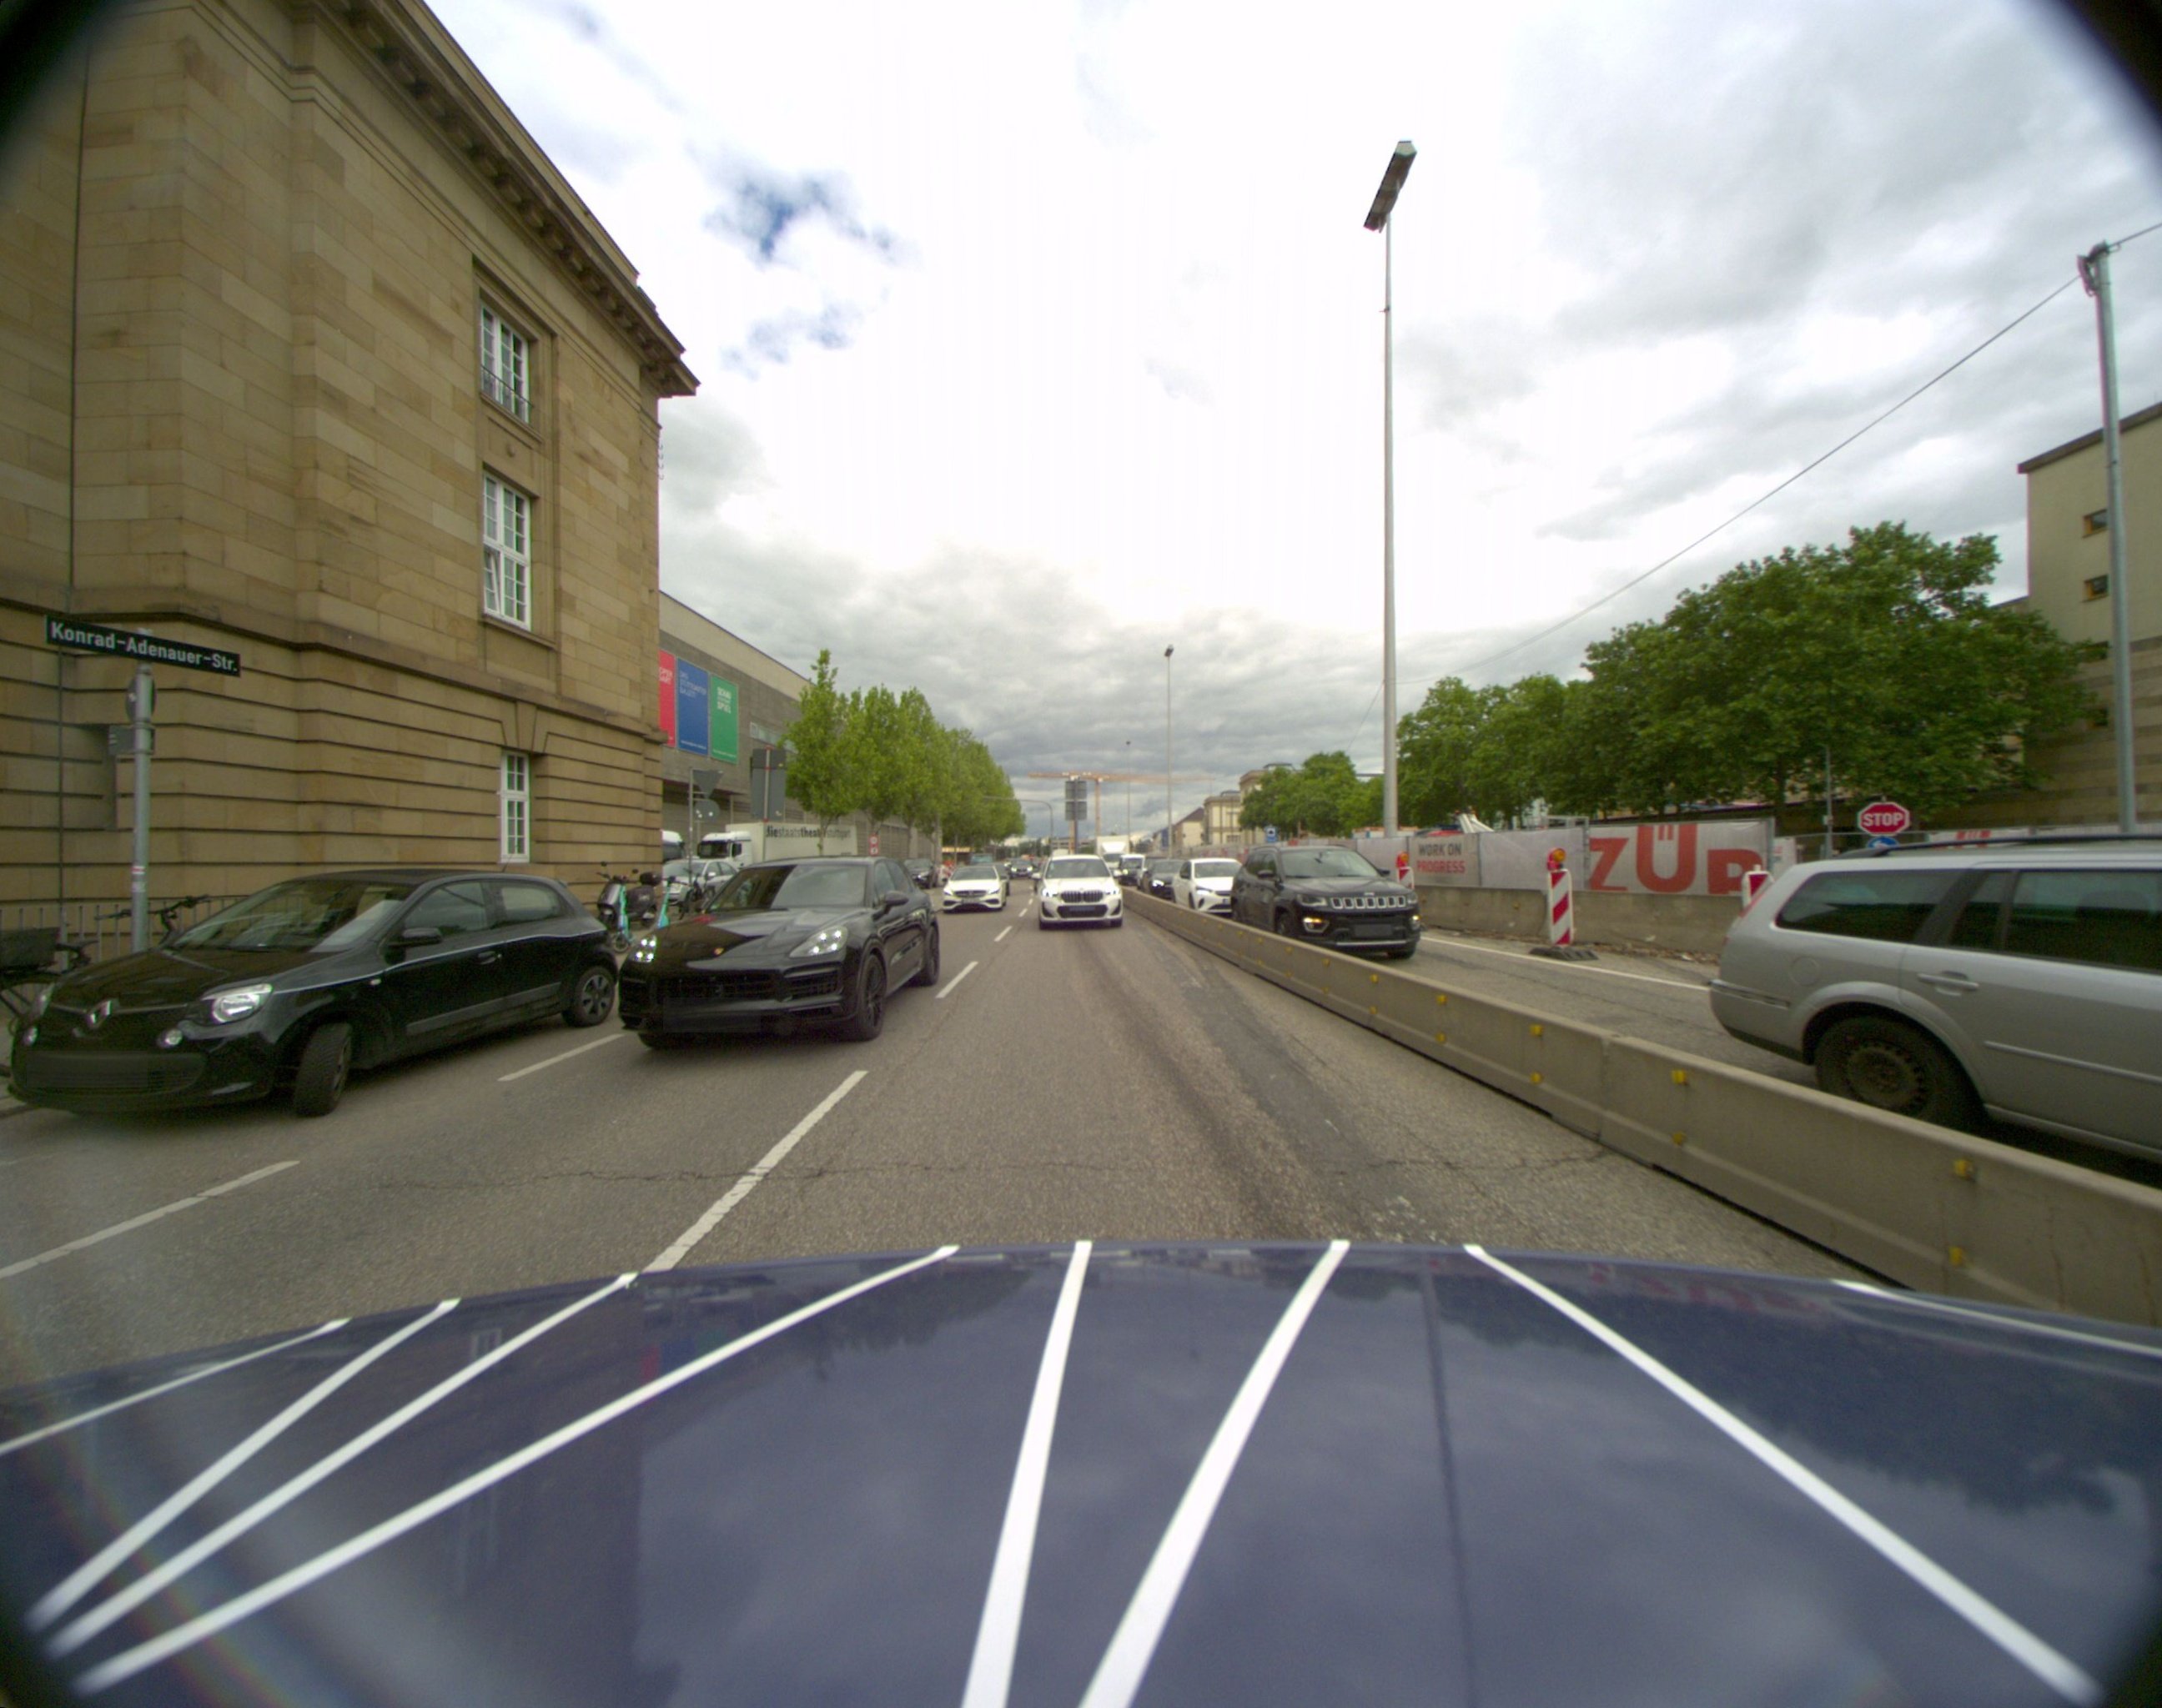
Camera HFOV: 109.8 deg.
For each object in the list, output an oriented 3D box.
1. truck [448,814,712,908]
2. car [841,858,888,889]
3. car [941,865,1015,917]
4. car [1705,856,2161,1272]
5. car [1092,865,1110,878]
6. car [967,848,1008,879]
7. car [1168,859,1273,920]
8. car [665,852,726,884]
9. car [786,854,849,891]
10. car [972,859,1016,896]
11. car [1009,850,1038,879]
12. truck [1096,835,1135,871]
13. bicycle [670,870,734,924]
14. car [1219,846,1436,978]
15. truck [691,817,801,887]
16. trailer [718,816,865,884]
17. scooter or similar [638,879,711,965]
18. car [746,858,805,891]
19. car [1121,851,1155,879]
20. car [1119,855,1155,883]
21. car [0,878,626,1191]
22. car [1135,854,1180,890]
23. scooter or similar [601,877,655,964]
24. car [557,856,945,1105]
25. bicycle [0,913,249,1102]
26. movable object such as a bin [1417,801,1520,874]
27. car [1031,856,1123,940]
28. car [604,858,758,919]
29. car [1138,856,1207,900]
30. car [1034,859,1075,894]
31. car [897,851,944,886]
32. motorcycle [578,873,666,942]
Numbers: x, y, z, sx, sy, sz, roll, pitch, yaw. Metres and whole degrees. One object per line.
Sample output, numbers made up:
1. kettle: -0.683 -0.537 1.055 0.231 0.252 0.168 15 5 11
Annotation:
1. truck: -23.159 0.314 35.491 10.378 4.181 2.999 0 0 1
2. car: -11.869 1.038 41.903 1.584 1.521 3.503 -2 0 -1
3. car: -3.169 1.097 24.039 1.935 1.368 3.998 -2 0 -3
4. car: 4.962 0.785 2.383 1.884 1.472 4.702 -2 0 -5
5. car: 2.593 2.309 100.773 1.873 1.499 3.998 -3 1 -5
6. car: -6.037 0.600 49.600 1.952 1.914 4.399 -1 0 2
7. car: 3.431 0.833 19.412 1.731 1.288 3.933 -2 1 -3
8. car: -24.906 0.868 49.256 1.558 1.871 4.001 -2 0 5
9. car: -14.465 0.959 41.933 1.810 1.773 4.620 -4 0 -1
10. car: -3.835 1.008 33.952 1.612 1.464 3.621 -1 0 -1
11. car: -4.335 0.781 56.954 1.999 2.002 3.998 -2 0 -5
12. truck: 2.730 -0.084 62.708 2.978 2.757 7.255 -1 0 1
13. bicycle: -9.340 1.027 18.807 0.610 1.217 1.962 2 0 -2
14. car: 3.499 0.713 11.644 1.781 1.611 4.044 -2 1 -3
15. truck: -20.945 -0.154 47.993 3.138 4.061 6.577 -2 1 8
16. trailer: -20.015 -0.374 54.279 3.154 4.077 13.979 -3 1 8
17. scooter or similar: -6.523 1.052 12.263 0.380 1.254 1.403 -1 0 1
18. car: -16.773 1.090 41.929 1.719 1.679 3.760 -2 0 -1
19. car: 3.700 0.665 49.864 1.842 1.751 4.480 -1 0 -1
20. car: 3.051 0.790 42.074 1.652 1.430 3.934 -2 0 -1
21. car: -5.510 1.019 5.917 1.549 1.543 3.709 0 0 3
22. car: 3.454 0.783 34.654 1.634 1.546 3.002 -2 0 -1
23. scooter or similar: -7.320 1.039 12.329 0.453 1.246 1.366 -1 2 -19
24. car: -2.761 0.924 7.600 1.907 1.648 4.200 -3 1 1
25. bicycle: -7.495 1.094 5.695 0.461 1.150 1.831 -1 0 0
26. movable object such as a bin: 12.403 -0.487 24.531 1.526 2.172 3.292 -1 0 -3
27. car: -0.222 0.920 18.192 1.856 1.618 4.904 -2 1 -3
28. car: -10.879 0.880 21.089 1.782 1.460 4.575 -2 0 0
29. car: 3.262 0.819 27.882 1.859 1.407 4.565 -2 0 -1
30. car: -1.280 1.003 35.723 1.803 1.429 4.019 -2 0 -3
31. car: -8.575 0.759 40.903 1.810 1.728 4.484 -2 0 -4
32. motorcycle: -9.111 1.025 15.175 0.456 1.235 1.923 0 0 5
